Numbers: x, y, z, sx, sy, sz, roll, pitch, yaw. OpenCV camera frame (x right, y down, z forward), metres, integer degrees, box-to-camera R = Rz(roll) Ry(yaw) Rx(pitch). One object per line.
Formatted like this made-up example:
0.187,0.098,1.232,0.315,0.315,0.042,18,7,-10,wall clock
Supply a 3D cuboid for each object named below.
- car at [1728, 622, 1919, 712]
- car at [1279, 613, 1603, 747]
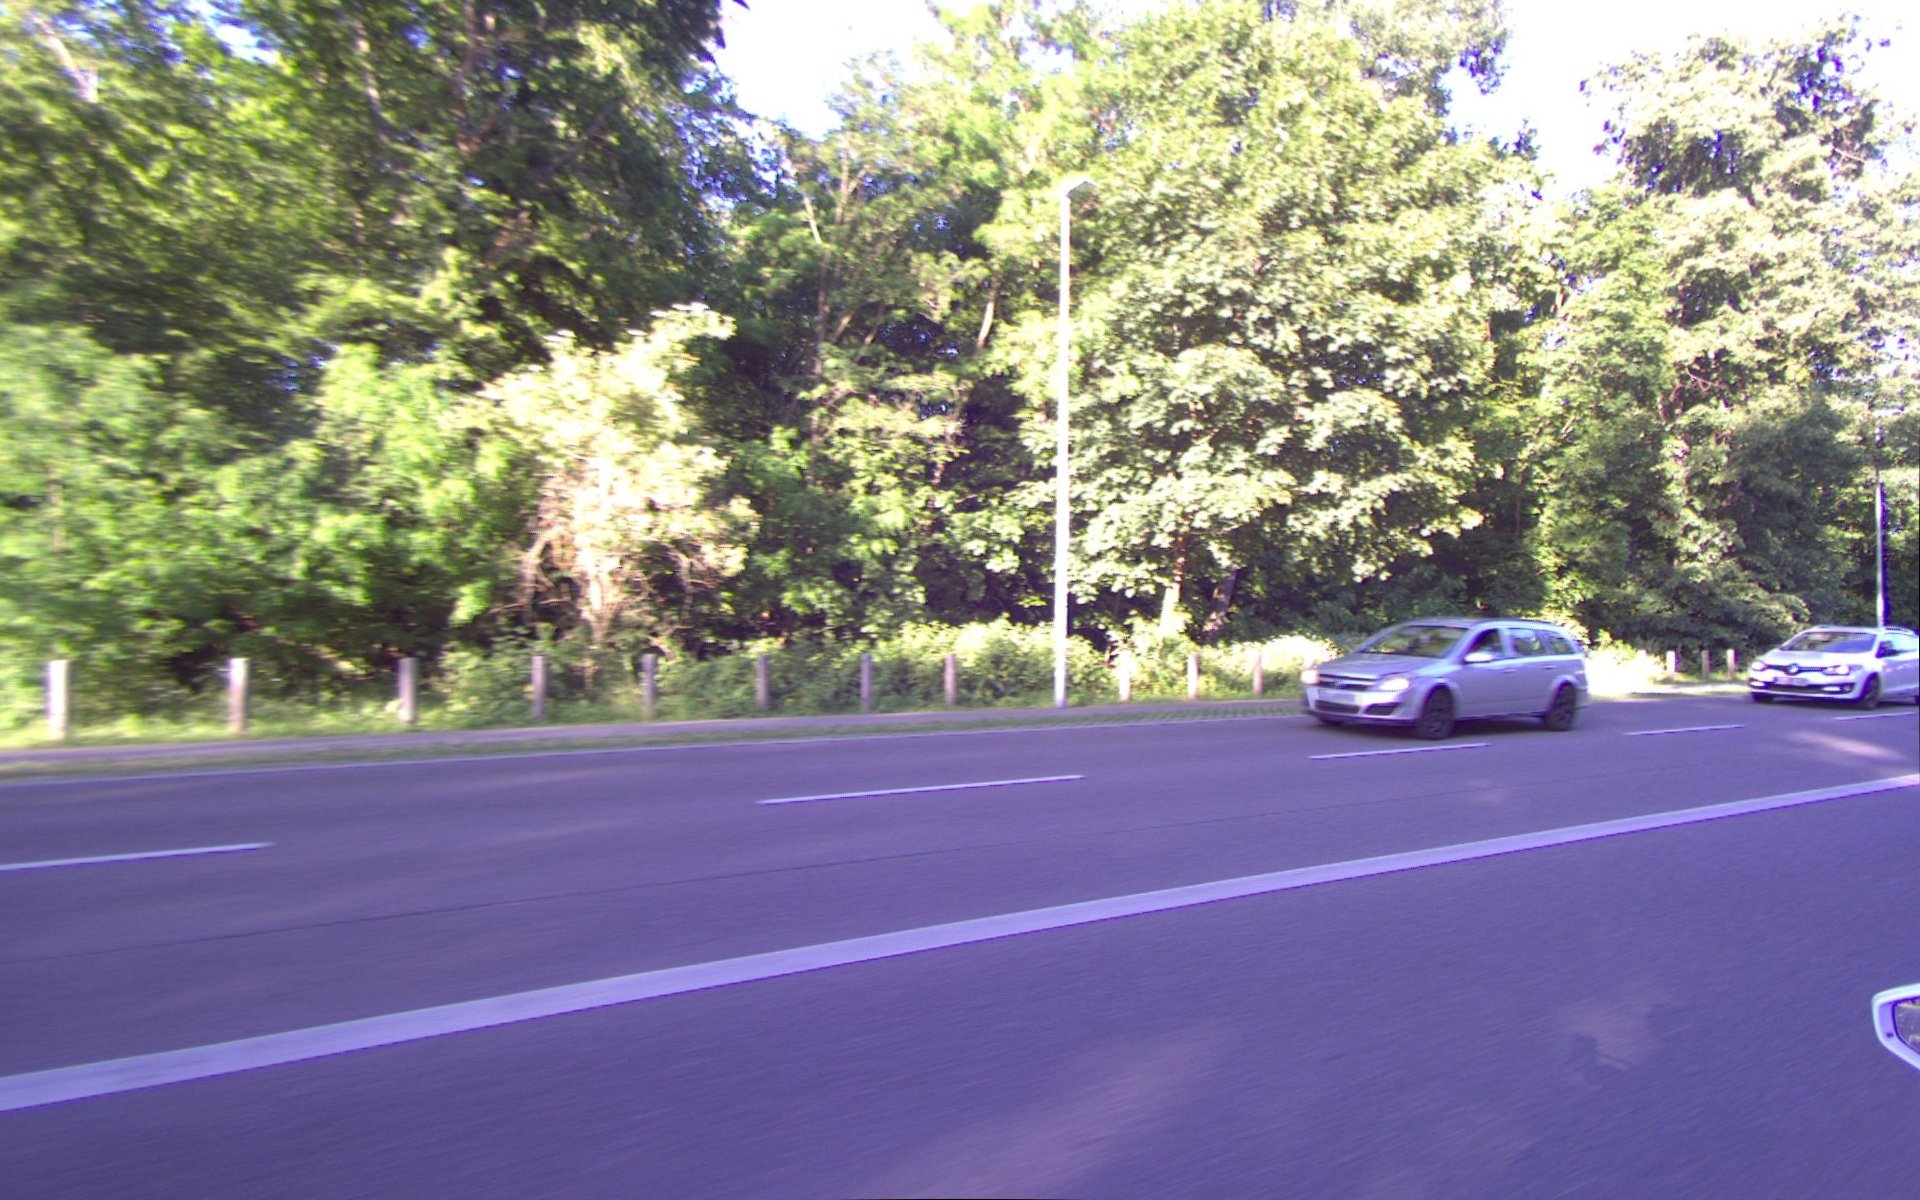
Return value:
16.734,1.209,19.103,4.343,1.542,1.775,1,-1,-29,car
6.417,0.983,13.308,4.223,1.483,1.772,2,0,-29,car
